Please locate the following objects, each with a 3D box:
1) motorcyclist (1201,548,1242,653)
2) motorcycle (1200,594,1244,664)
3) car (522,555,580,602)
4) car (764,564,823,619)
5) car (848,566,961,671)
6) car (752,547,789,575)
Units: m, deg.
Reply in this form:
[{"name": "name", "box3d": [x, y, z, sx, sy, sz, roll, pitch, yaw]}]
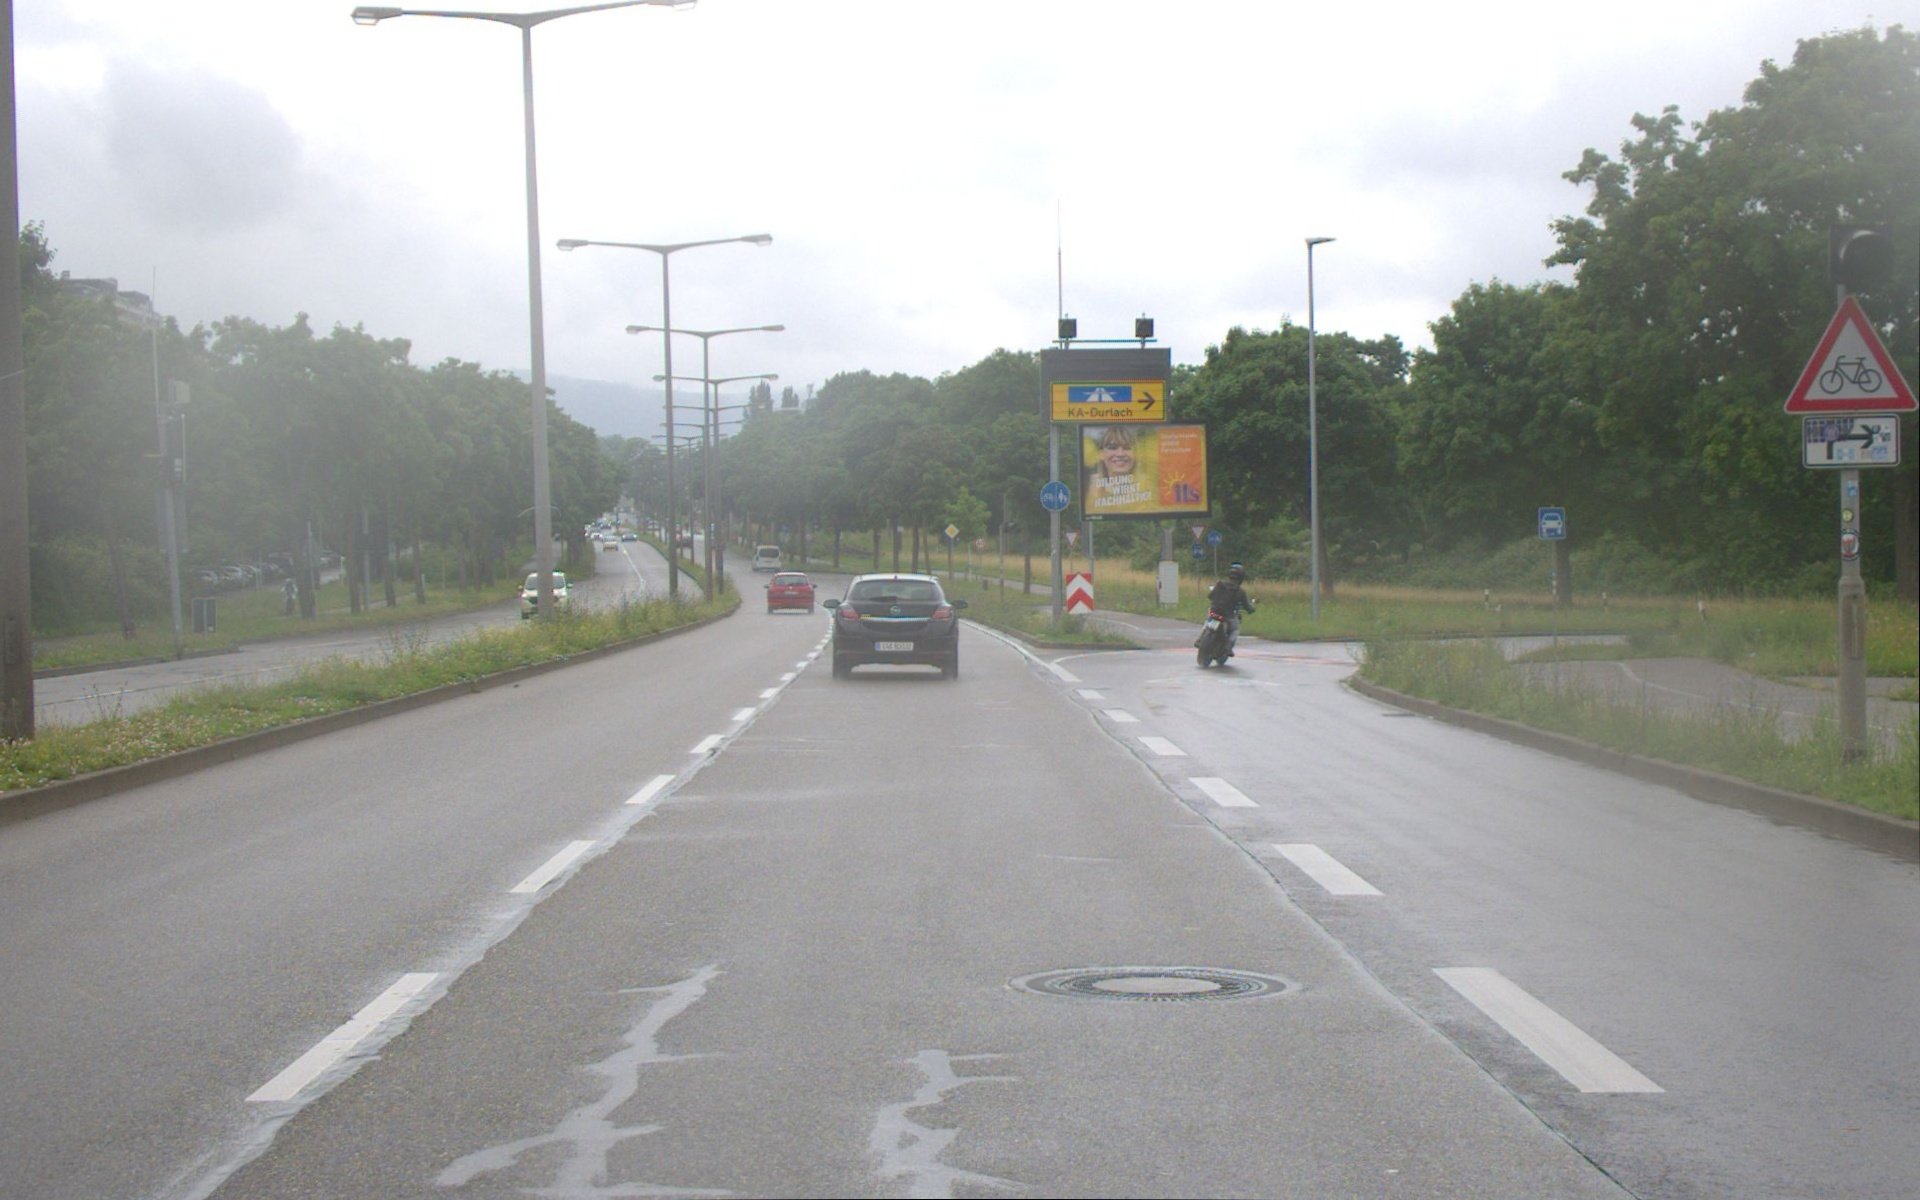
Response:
[{"name": "motorcyclist", "box3d": [4.253, 0.004, 55.812, 0.601, 1.684, 0.860, 0, 1, 8]}, {"name": "motorcycle", "box3d": [4.262, 0.463, 55.840, 0.601, 1.089, 1.731, 0, 1, 8]}, {"name": "car", "box3d": [-15.041, -0.803, 126.622, 1.707, 1.624, 4.492, -3, 1, -2]}, {"name": "car", "box3d": [-5.823, -0.312, 120.575, 1.993, 1.873, 4.000, 0, 1, -2]}, {"name": "car", "box3d": [-0.791, 0.222, 47.027, 1.463, 1.324, 3.758, 0, 1, -2]}, {"name": "car", "box3d": [-14.176, -2.890, 256.604, 2.515, 2.045, 5.294, -1, 1, -5]}]
